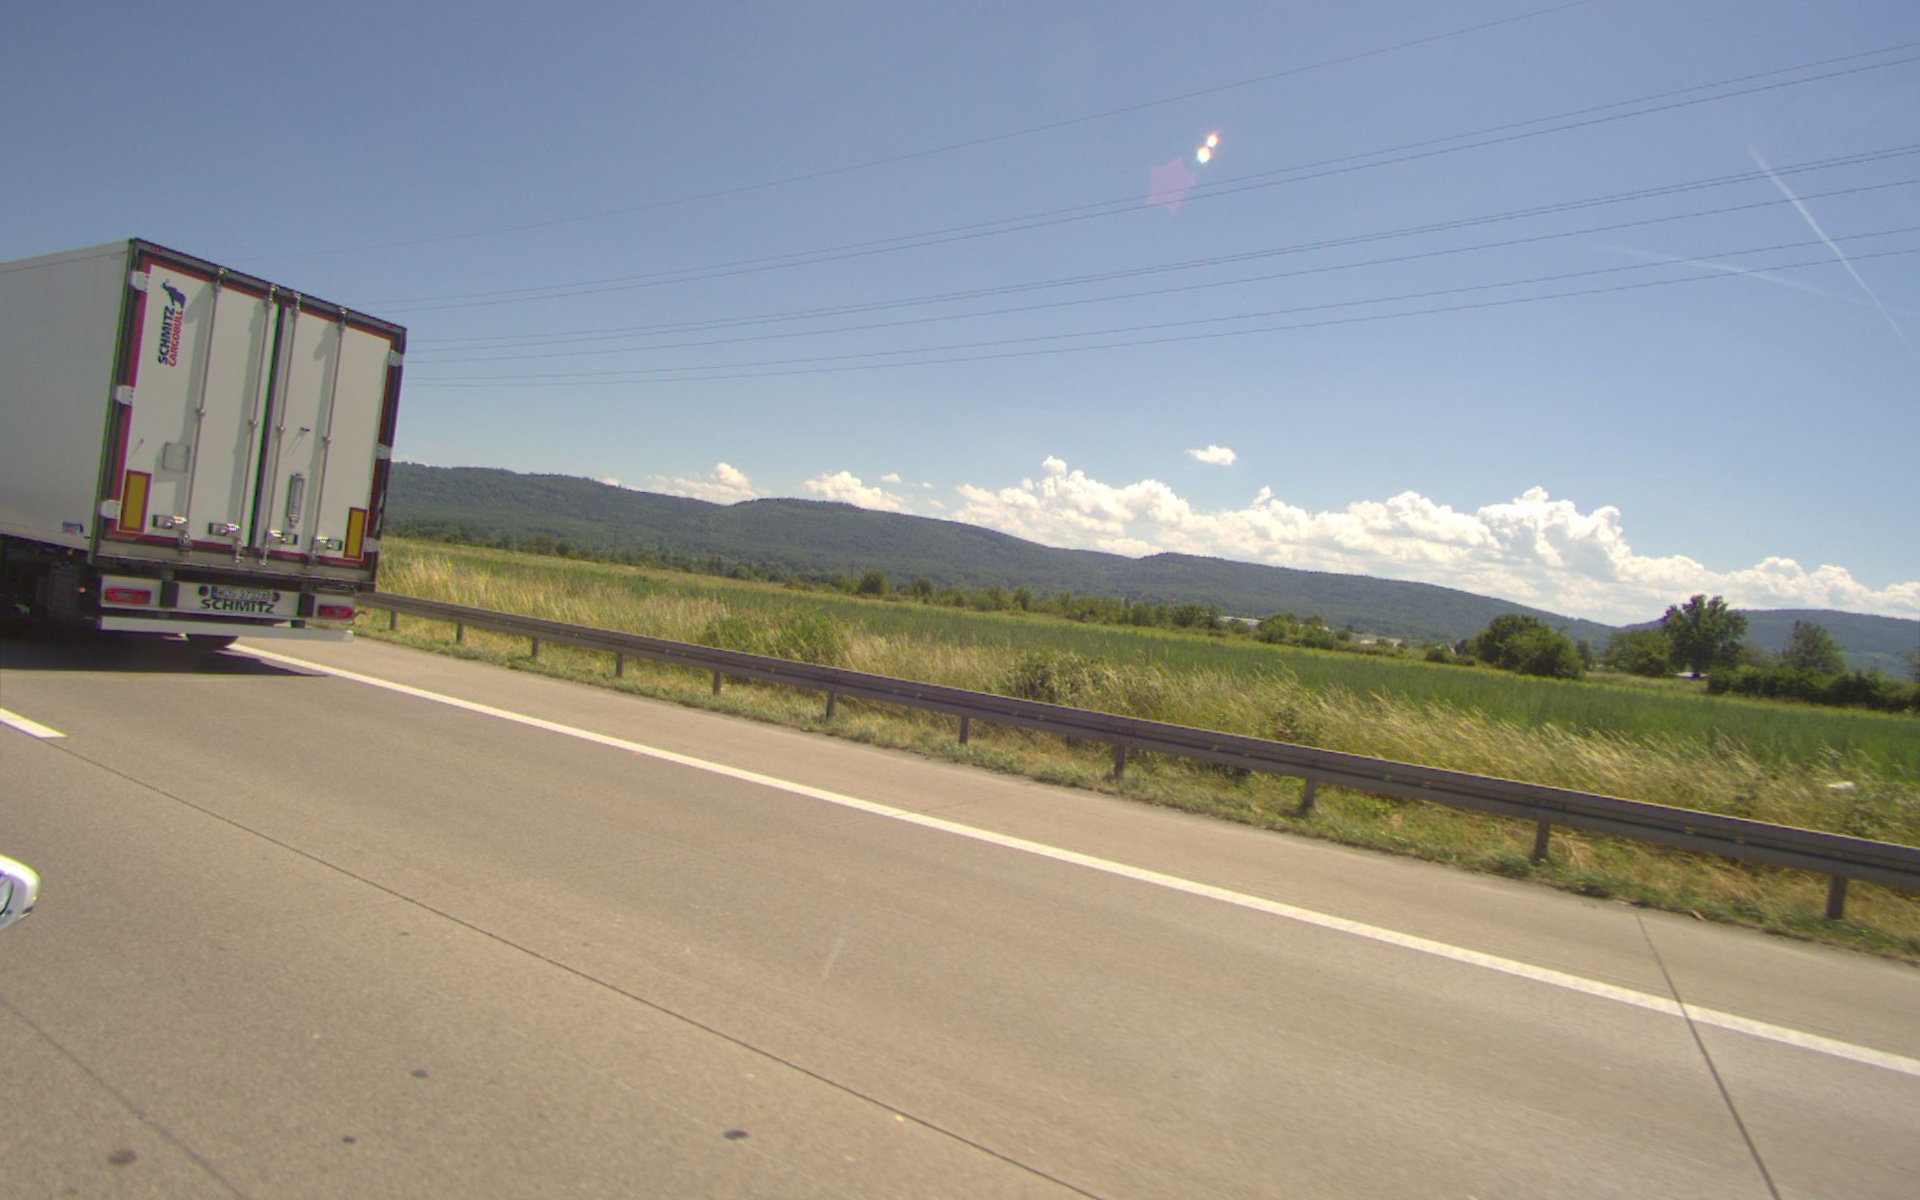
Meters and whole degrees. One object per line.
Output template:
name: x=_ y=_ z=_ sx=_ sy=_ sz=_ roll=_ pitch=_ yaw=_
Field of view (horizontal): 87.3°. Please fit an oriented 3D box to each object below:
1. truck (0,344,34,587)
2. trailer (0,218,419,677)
truck: x=-19.230 y=-2.640 z=17.562 sx=5.374 sy=4.091 sz=2.756 roll=6 pitch=-1 yaw=31
trailer: x=-12.477 y=-1.892 z=13.493 sx=12.686 sy=4.091 sz=2.714 roll=6 pitch=-1 yaw=31
